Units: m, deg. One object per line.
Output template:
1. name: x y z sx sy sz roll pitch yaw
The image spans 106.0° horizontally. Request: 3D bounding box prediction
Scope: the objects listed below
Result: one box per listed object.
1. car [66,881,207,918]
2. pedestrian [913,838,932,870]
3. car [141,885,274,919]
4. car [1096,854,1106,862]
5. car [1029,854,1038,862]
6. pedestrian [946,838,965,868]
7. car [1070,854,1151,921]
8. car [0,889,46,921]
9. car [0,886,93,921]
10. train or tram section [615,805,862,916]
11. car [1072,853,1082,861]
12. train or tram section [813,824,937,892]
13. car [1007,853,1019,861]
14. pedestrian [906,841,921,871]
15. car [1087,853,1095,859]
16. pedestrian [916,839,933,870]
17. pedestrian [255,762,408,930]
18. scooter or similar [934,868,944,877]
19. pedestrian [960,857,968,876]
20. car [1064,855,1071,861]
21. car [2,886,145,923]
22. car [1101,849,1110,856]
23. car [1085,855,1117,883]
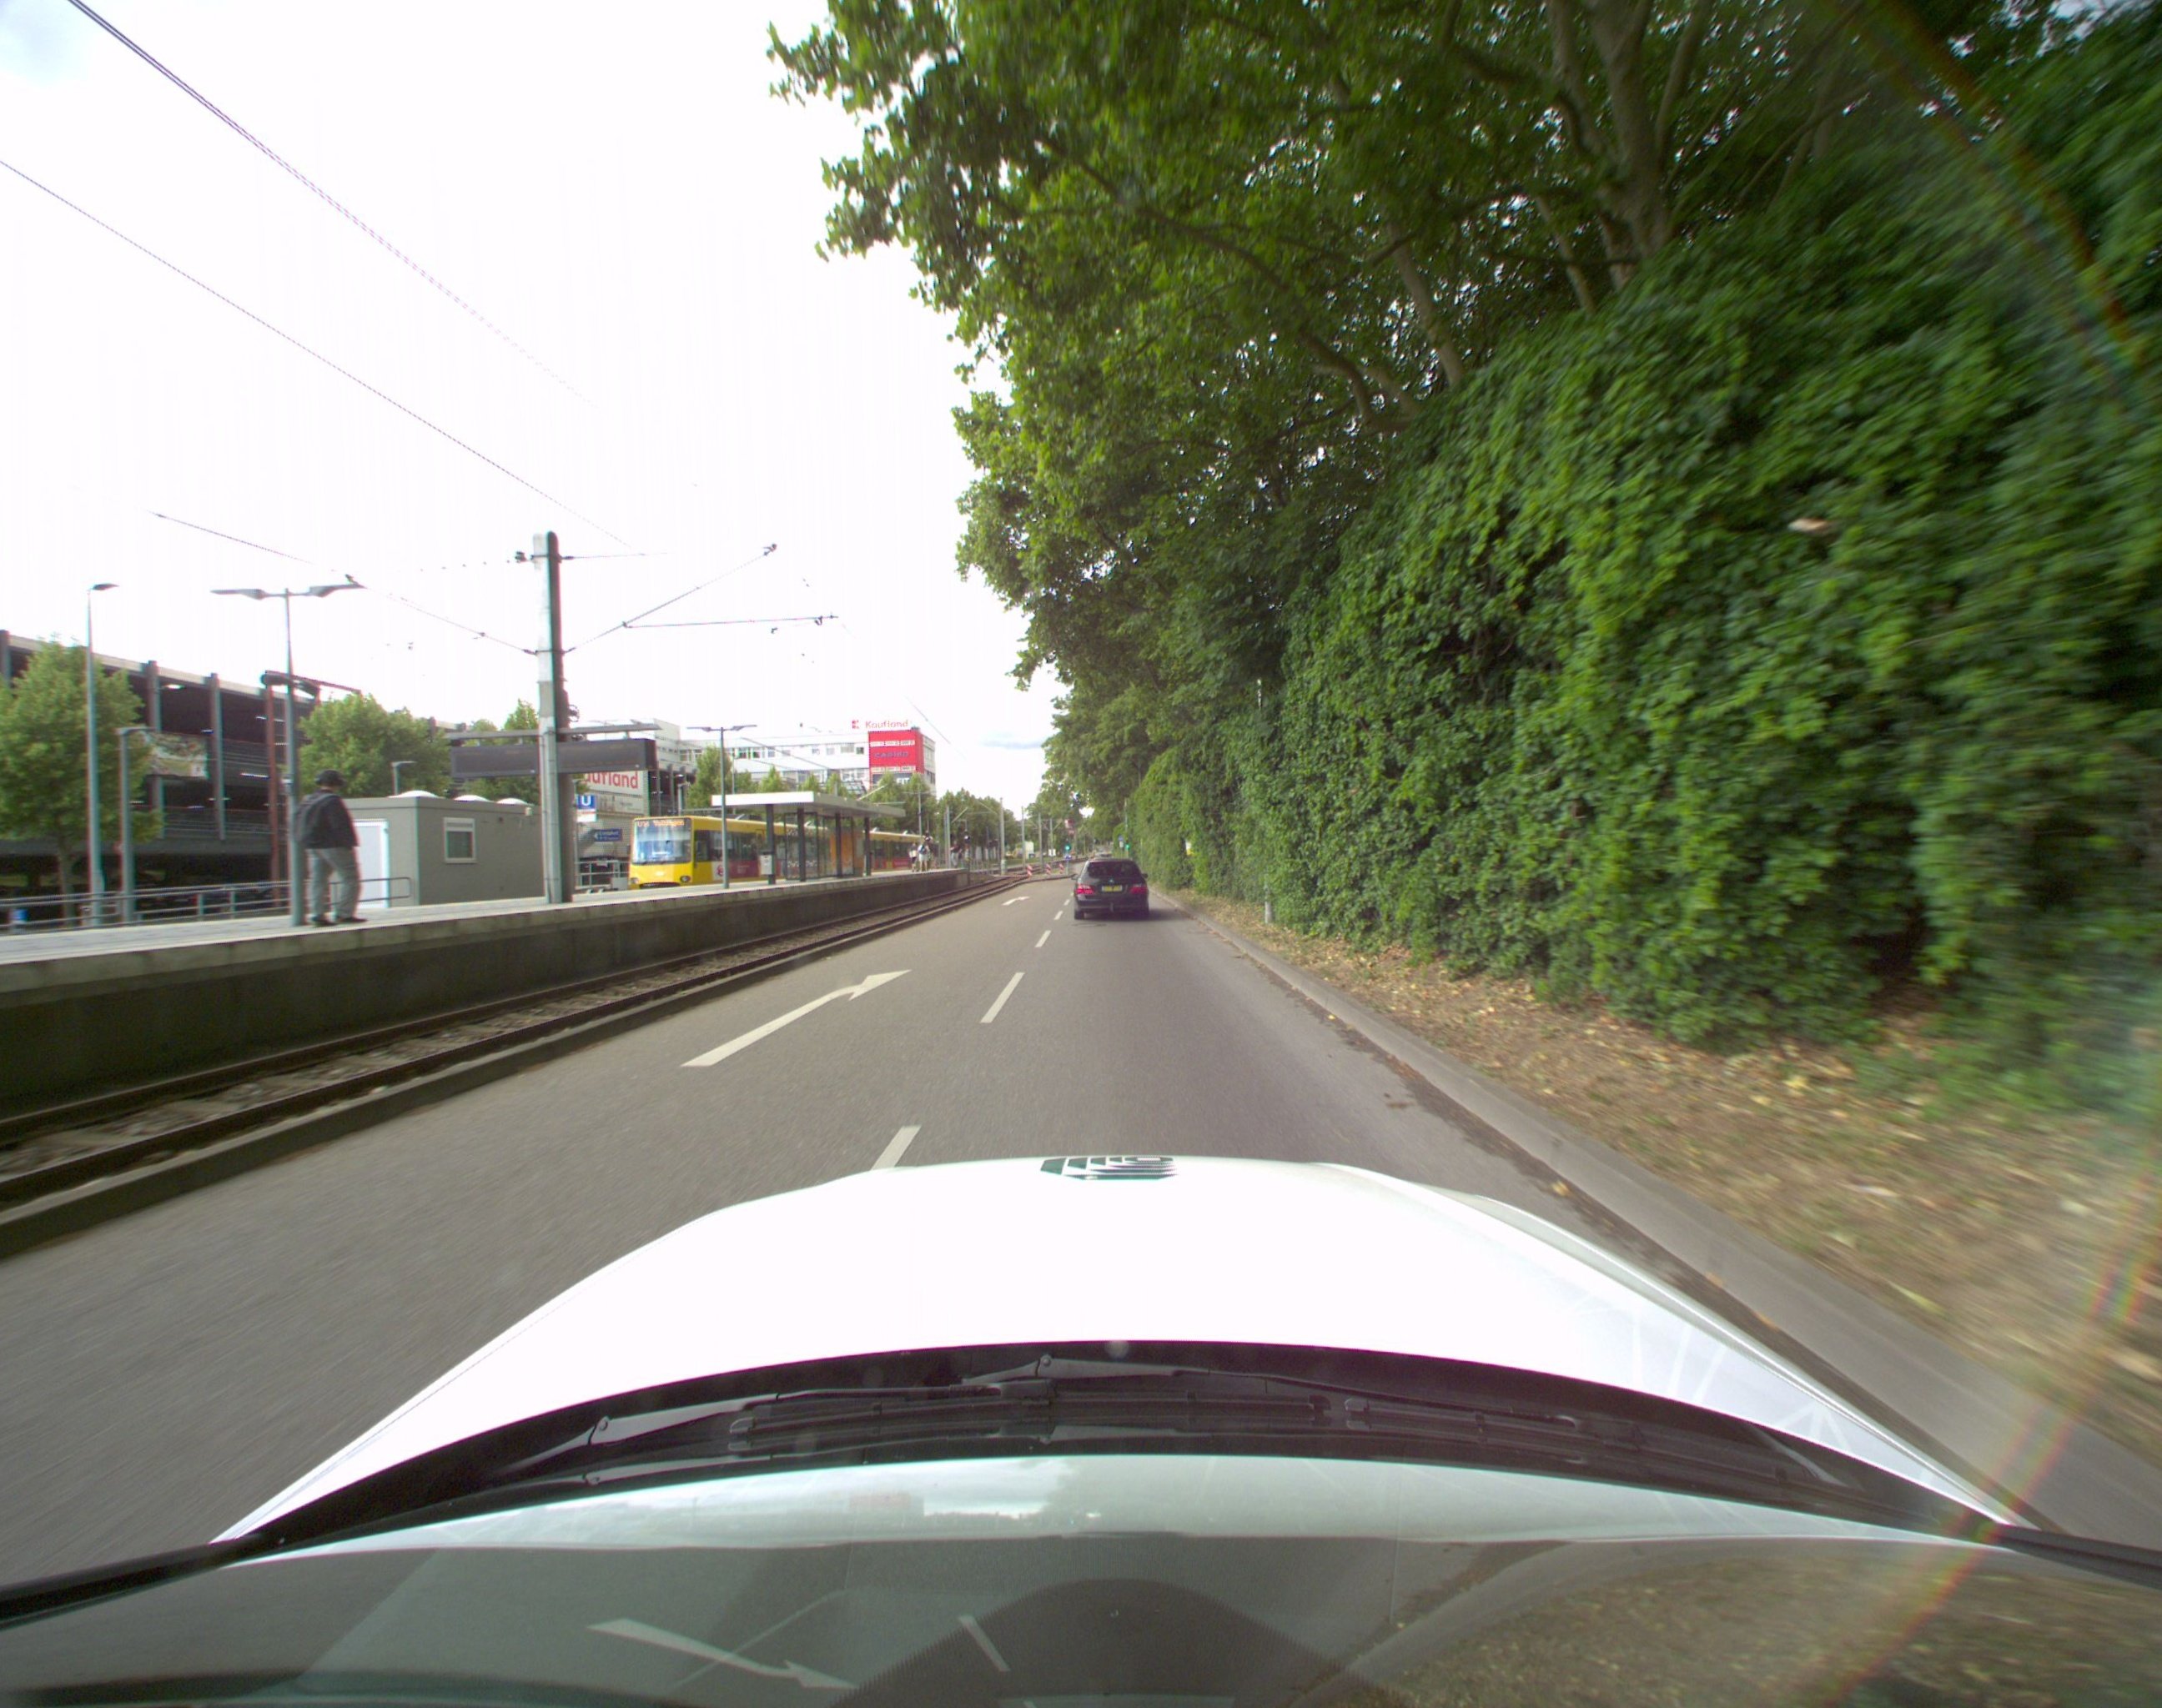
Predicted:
1. car: -45.549 2.170 39.414 1.986 1.473 4.002 -3 0 2
2. pedestrian: -8.602 0.012 44.352 0.768 1.678 0.791 -3 0 1
3. car: -42.246 2.272 39.520 1.986 1.310 4.002 -3 0 2
4. car: 4.078 0.803 163.177 1.817 1.530 4.419 -2 0 3
5. car: -13.297 1.088 229.245 1.986 2.013 4.001 -3 0 1
6. pedestrian: -7.244 -0.048 46.940 0.870 1.678 0.745 -3 0 0
7. car: 0.756 0.770 20.659 1.826 1.478 4.418 -1 0 2
8. car: -52.954 2.519 38.897 1.817 1.457 4.000 -2 0 0
9. car: -50.849 2.391 39.113 1.816 1.457 4.001 -2 0 2
10. train or tram section: -14.890 0.224 38.771 2.745 3.882 18.647 -3 0 3
11. car: -0.893 0.623 173.873 1.817 1.530 3.931 -1 0 3
12. train or tram section: -13.795 0.312 57.299 2.745 3.828 18.647 -3 -1 3
13. car: -16.605 0.647 198.257 1.984 1.743 4.995 -3 0 5
14. pedestrian: -8.494 0.099 41.312 0.478 1.483 0.537 -3 -1 -31
15. car: 2.724 0.540 217.878 1.817 1.530 3.989 -1 0 3
16. pedestrian: -7.786 0.034 40.490 0.514 1.482 0.585 -4 -1 39
17. pedestrian: -8.344 -0.084 9.112 0.746 1.744 0.937 -3 0 1
18. scooter or similar: -12.834 1.637 73.437 0.491 0.768 0.803 -4 0 22
19. pedestrian: -10.426 1.093 72.675 0.513 1.662 0.467 -3 -1 12
20. car: -3.823 1.118 232.081 1.651 1.393 3.726 -1 0 6
21. car: -48.139 2.361 39.049 1.816 1.457 4.001 -2 0 2
22. car: 5.523 -0.309 185.158 1.817 1.530 3.931 -1 0 3
23. car: 1.187 0.834 48.655 1.819 1.530 4.416 -1 0 1
